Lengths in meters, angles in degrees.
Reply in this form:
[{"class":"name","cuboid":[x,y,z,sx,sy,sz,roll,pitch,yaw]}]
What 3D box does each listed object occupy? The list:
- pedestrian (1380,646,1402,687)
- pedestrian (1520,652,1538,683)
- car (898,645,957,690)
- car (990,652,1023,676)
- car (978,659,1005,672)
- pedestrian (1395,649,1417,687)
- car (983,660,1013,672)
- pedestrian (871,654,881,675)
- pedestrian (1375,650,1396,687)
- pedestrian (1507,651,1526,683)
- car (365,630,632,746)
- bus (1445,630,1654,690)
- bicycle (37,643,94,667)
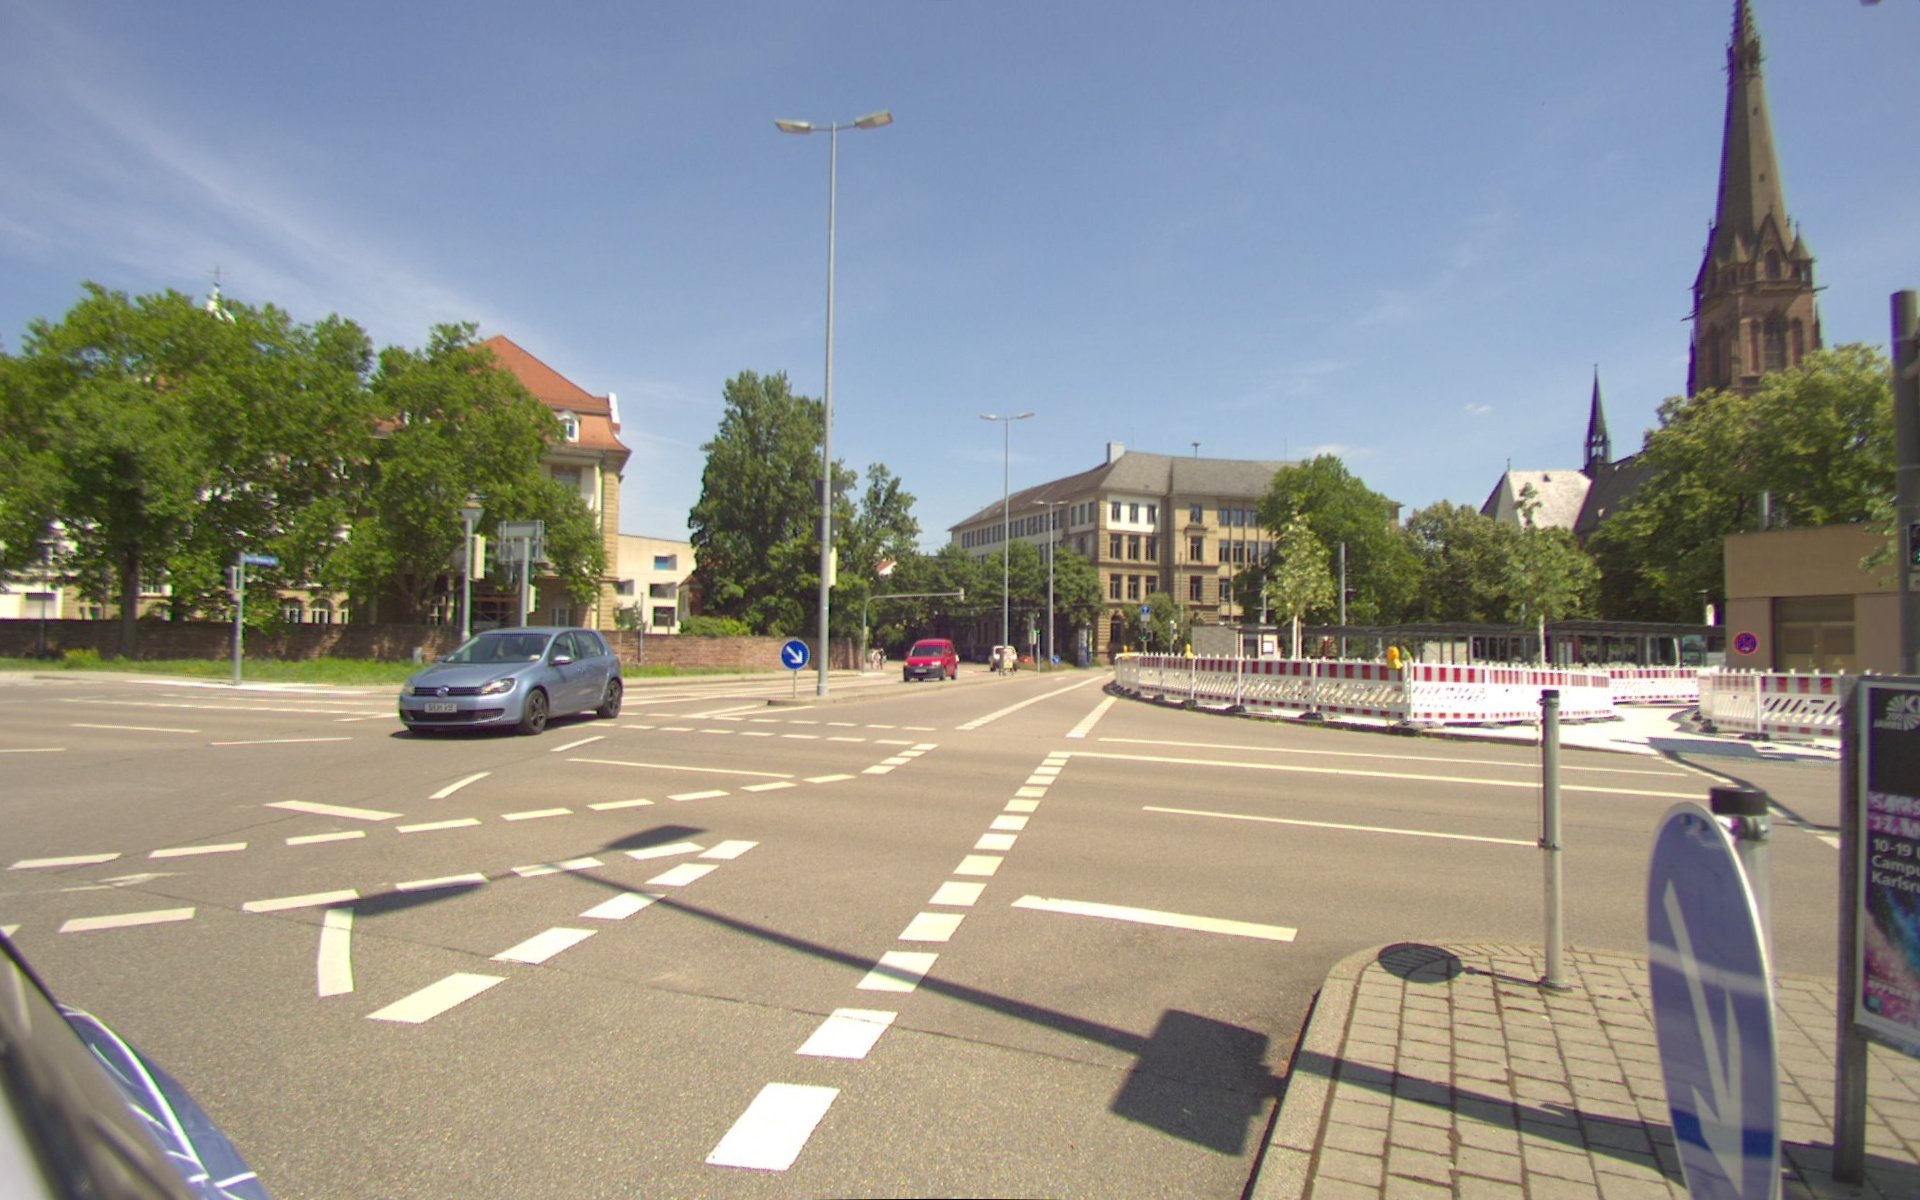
[{"class":"pedestrian","cuboid":[20.528,3.175,48.185,0.681,1.920,0.579,0,-4,-25]},{"class":"pedestrian","cuboid":[30.125,3.568,53.578,0.528,1.633,0.522,0,-4,-28]},{"class":"car","cuboid":[-1.339,2.912,43.790,1.812,1.780,4.268,-2,-4,8]},{"class":"car","cuboid":[3.707,4.992,79.386,1.912,1.809,5.013,0,-3,11]},{"class":"car","cuboid":[3.931,8.127,125.623,3.101,1.474,1.574,2,-5,-41]},{"class":"pedestrian","cuboid":[21.515,3.272,48.824,0.634,1.802,0.640,0,-4,-25]},{"class":"car","cuboid":[4.669,8.086,123.998,3.496,1.431,1.574,2,-5,-40]},{"class":"pedestrian","cuboid":[-6.576,5.089,79.496,0.594,1.623,0.560,4,-5,-20]},{"class":"pedestrian","cuboid":[20.940,3.359,49.808,0.531,1.769,0.661,1,-4,-34]},{"class":"pedestrian","cuboid":[30.087,3.619,54.696,0.616,1.667,0.548,0,-4,-28]},{"class":"car","cuboid":[-6.427,1.189,14.650,1.810,1.425,3.989,0,-3,4]},{"class":"bus","cuboid":[33.287,3.492,57.905,2.806,3.077,10.636,0,-4,-23]},{"class":"bicycle","cuboid":[-44.914,2.759,50.821,2.132,1.191,0.459,0,-4,-16]}]
